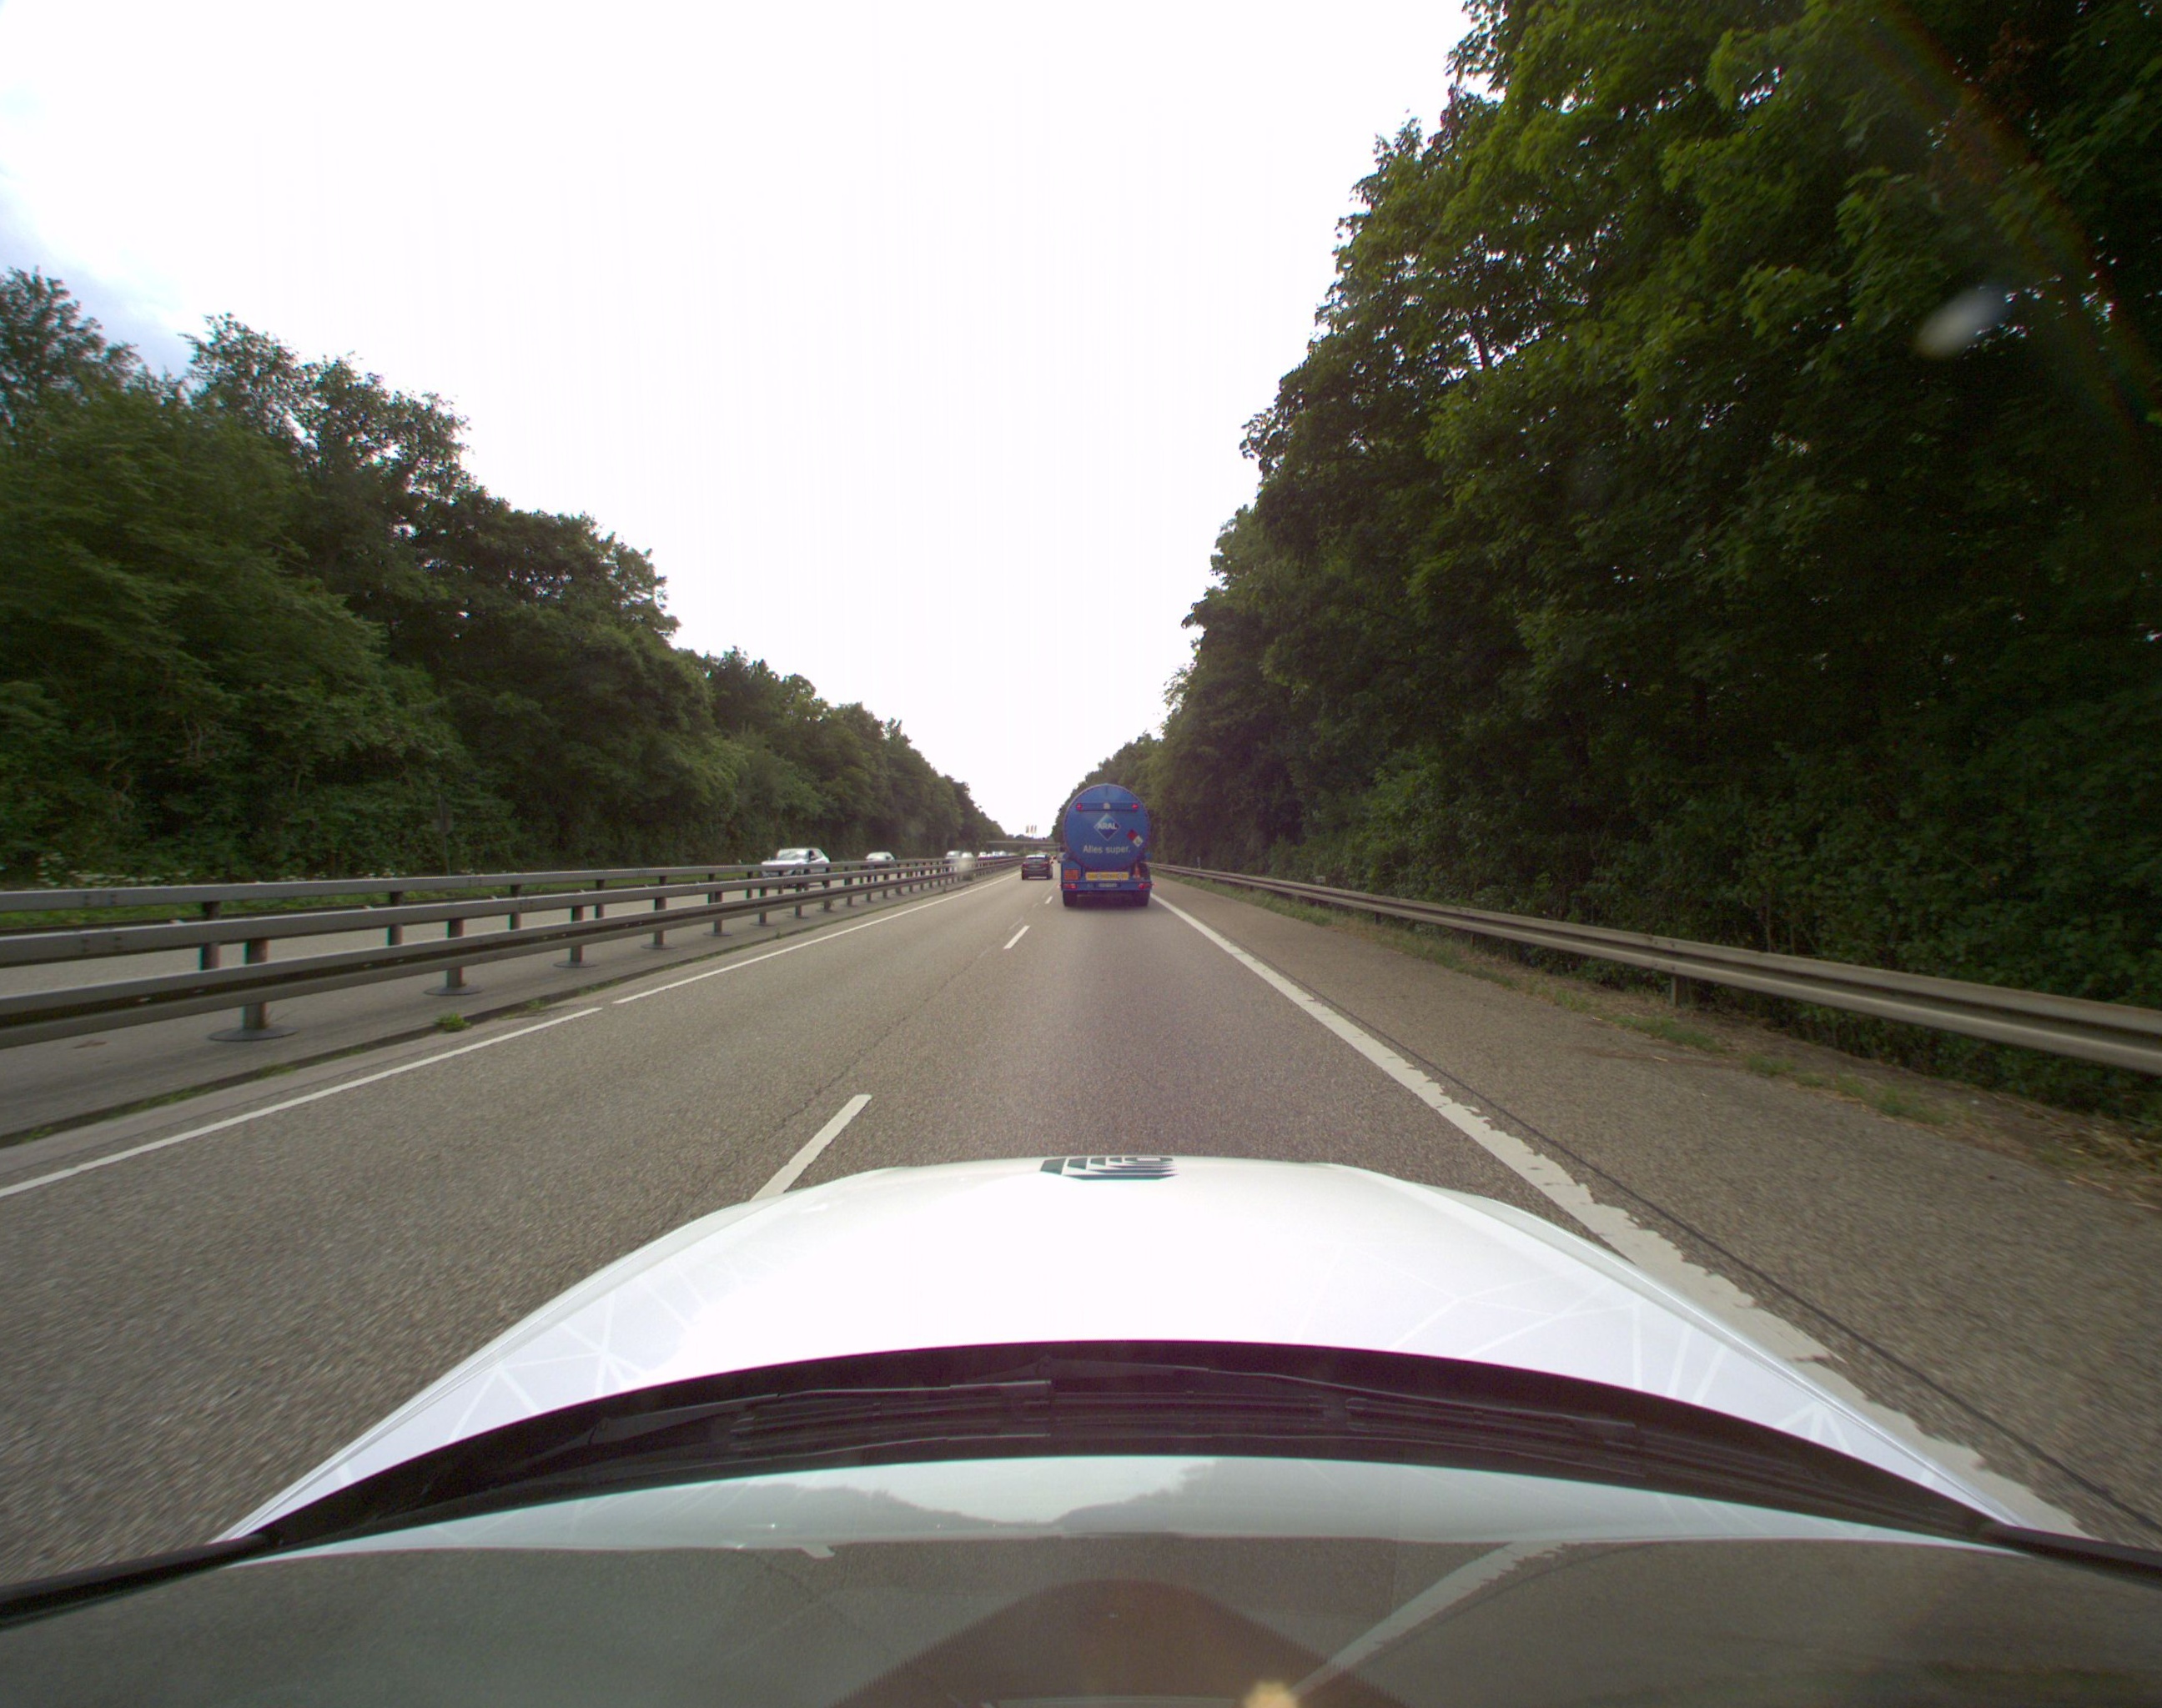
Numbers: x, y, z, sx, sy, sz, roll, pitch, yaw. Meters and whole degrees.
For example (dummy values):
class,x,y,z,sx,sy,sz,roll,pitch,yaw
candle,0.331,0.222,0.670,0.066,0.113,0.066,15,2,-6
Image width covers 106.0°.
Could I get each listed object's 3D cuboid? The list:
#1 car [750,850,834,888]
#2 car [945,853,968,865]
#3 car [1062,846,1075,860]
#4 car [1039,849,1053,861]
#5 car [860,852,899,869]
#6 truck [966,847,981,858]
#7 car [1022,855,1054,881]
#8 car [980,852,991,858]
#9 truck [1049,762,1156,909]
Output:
class,x,y,z,sx,sy,sz,roll,pitch,yaw
car,-11.244,0.549,32.003,1.637,1.389,4.292,-1,0,1
car,-12.731,0.498,83.460,1.737,1.189,4.287,-1,0,-2
car,-2.018,-0.162,128.610,1.988,2.244,3.998,-1,0,-1
car,-4.731,0.120,109.861,1.822,1.609,4.162,-1,0,-3
car,-14.805,0.459,60.023,1.735,1.189,4.292,-1,0,1
truck,-16.954,-0.235,128.431,1.988,1.739,3.997,-1,0,-2
car,-2.555,0.809,49.454,1.821,1.458,4.636,-1,0,-2
car,-19.837,0.166,169.838,1.736,1.189,4.289,-1,0,0
truck,0.741,-0.512,25.488,2.744,3.846,7.693,-1,0,2
